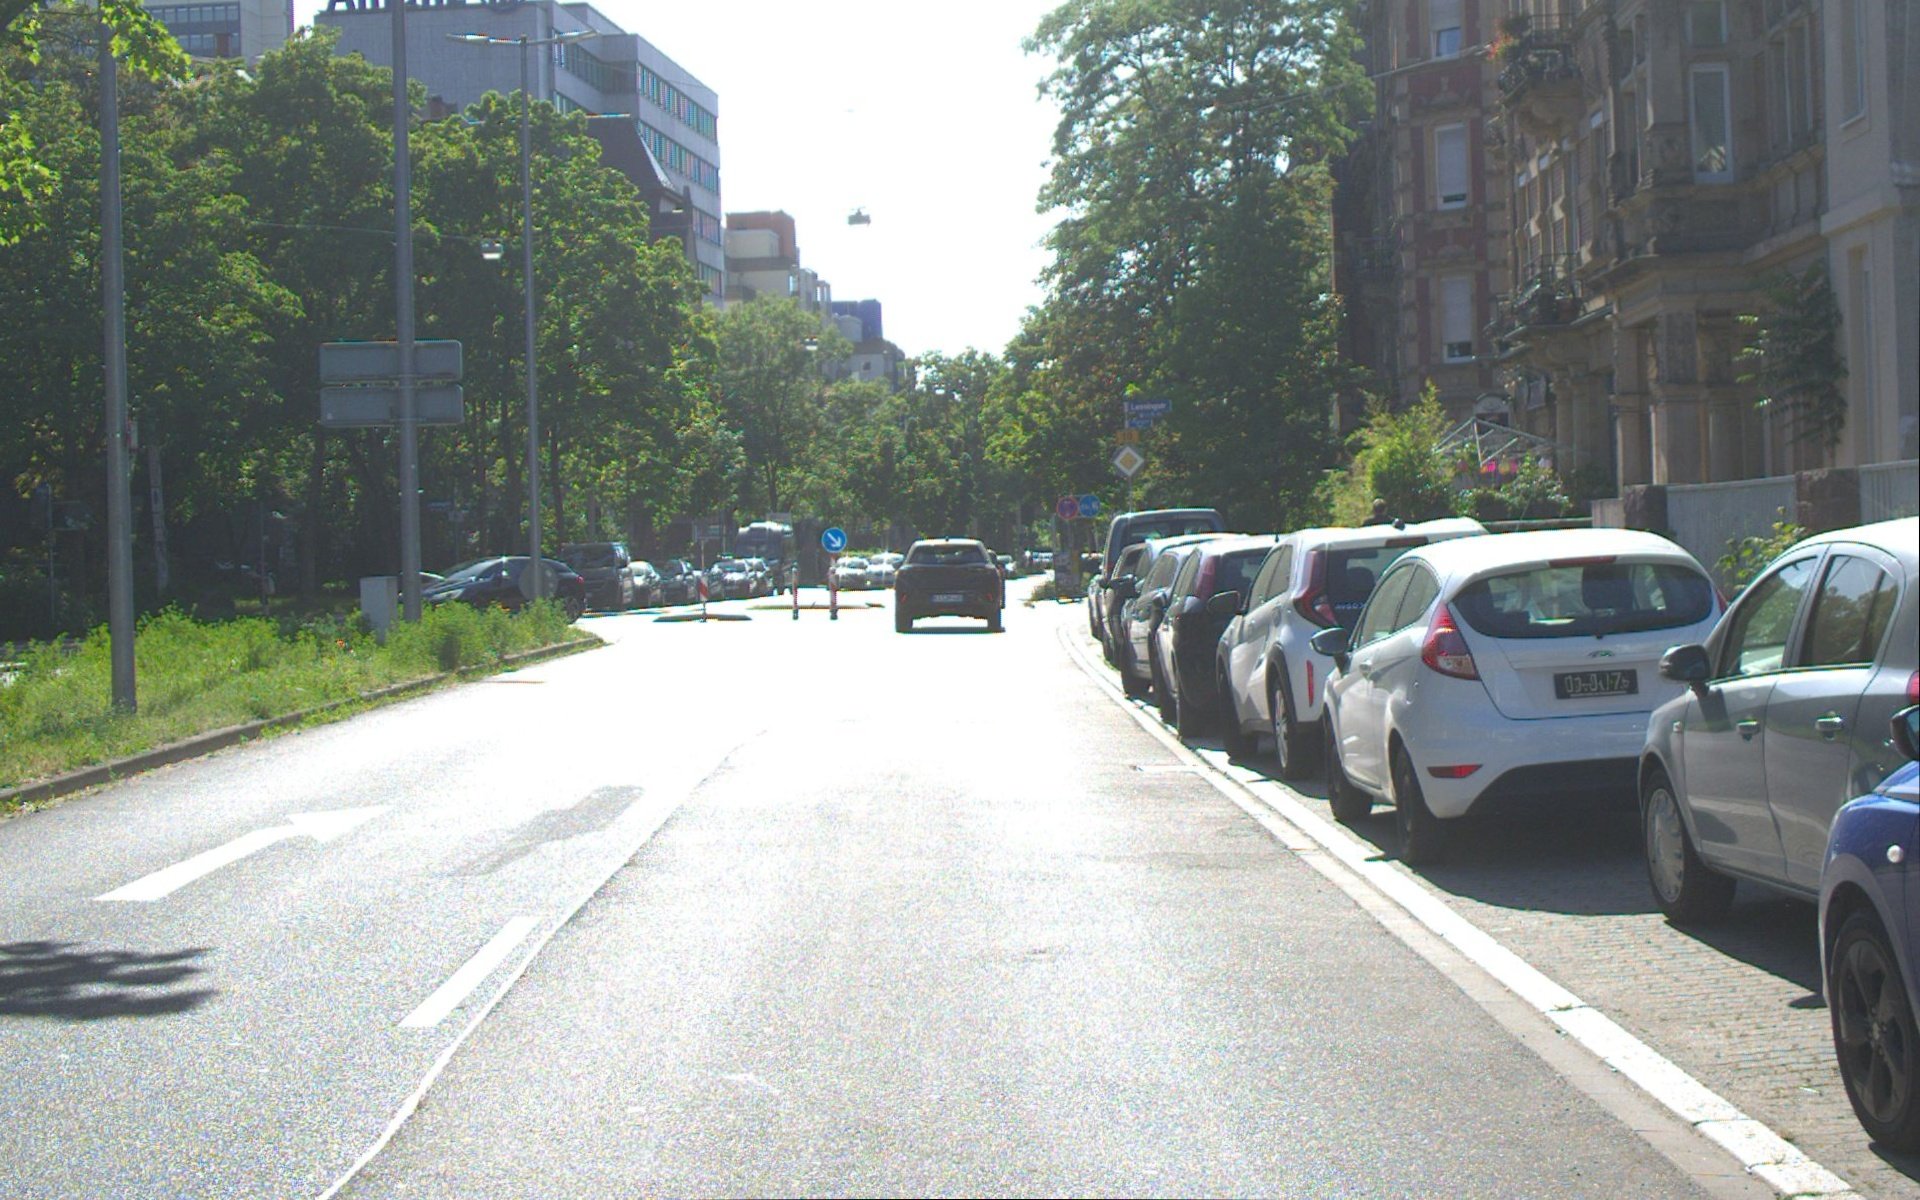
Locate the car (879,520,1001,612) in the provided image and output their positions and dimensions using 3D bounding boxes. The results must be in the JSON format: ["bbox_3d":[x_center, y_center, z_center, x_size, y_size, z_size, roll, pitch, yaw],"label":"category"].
[{"bbox_3d":[-0.380,-0.599,58.558,1.894,1.514,4.001,0,1,-3],"label":"car"}]

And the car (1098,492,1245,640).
[{"bbox_3d":[2.803,-0.499,46.330,1.819,1.837,4.364,-2,2,2],"label":"car"}]

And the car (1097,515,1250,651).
[{"bbox_3d":[2.478,-0.246,40.707,1.668,1.463,4.274,-2,2,2],"label":"car"}]

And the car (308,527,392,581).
[{"bbox_3d":[-19.872,-1.506,111.809,1.974,1.656,4.001,-2,1,-20],"label":"car"}]

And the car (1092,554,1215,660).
[{"bbox_3d":[2.916,0.076,52.563,1.709,1.420,4.206,2,2,2],"label":"car"}]

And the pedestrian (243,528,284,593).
[{"bbox_3d":[-17.673,-1.013,87.280,0.669,1.621,0.714,-1,1,34],"label":"pedestrian"}]

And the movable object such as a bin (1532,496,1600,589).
[{"bbox_3d":[7.696,-0.726,43.671,0.759,1.153,0.608,-1,-2,2],"label":"movable object such as a bin"}]

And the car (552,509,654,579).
[{"bbox_3d":[-10.347,-1.657,99.903,2.199,1.922,4.862,-2,1,2],"label":"car"}]

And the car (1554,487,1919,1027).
[{"bbox_3d":[3.380,0.376,11.719,1.668,1.455,3.987,-5,2,-4],"label":"car"}]

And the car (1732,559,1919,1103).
[{"bbox_3d":[2.985,0.502,7.171,1.668,1.178,3.901,-5,2,-2],"label":"car"}]

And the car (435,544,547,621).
[{"bbox_3d":[-9.669,-0.384,71.198,1.795,1.514,4.424,0,1,-1],"label":"car"}]

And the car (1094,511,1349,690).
[{"bbox_3d":[2.402,-0.056,32.639,1.935,1.514,4.484,-2,2,-1],"label":"car"}]

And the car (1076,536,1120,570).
[{"bbox_3d":[7.095,-2.399,176.320,1.921,1.634,3.999,-2,1,6],"label":"car"}]

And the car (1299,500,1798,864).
[{"bbox_3d":[2.723,0.303,16.669,1.608,1.441,3.659,-5,2,-1],"label":"car"}]

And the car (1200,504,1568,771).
[{"bbox_3d":[2.631,0.175,22.096,1.668,1.514,3.662,-2,2,-3],"label":"car"}]

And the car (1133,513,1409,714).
[{"bbox_3d":[2.330,0.048,26.560,1.668,1.389,3.775,-2,2,-1],"label":"car"}]

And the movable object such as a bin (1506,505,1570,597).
[{"bbox_3d":[7.501,-0.630,44.627,0.722,1.153,0.608,-1,-2,2],"label":"movable object such as a bin"}]

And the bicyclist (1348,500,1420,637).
[{"bbox_3d":[5.029,-0.385,40.794,0.741,1.574,1.100,-1,2,2],"label":"bicyclist"}]

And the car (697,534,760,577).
[{"bbox_3d":[-8.118,-1.573,120.822,1.524,1.427,3.336,-2,1,7],"label":"car"}]

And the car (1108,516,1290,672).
[{"bbox_3d":[2.522,-0.103,36.915,1.621,1.465,3.299,4,2,0],"label":"car"}]
